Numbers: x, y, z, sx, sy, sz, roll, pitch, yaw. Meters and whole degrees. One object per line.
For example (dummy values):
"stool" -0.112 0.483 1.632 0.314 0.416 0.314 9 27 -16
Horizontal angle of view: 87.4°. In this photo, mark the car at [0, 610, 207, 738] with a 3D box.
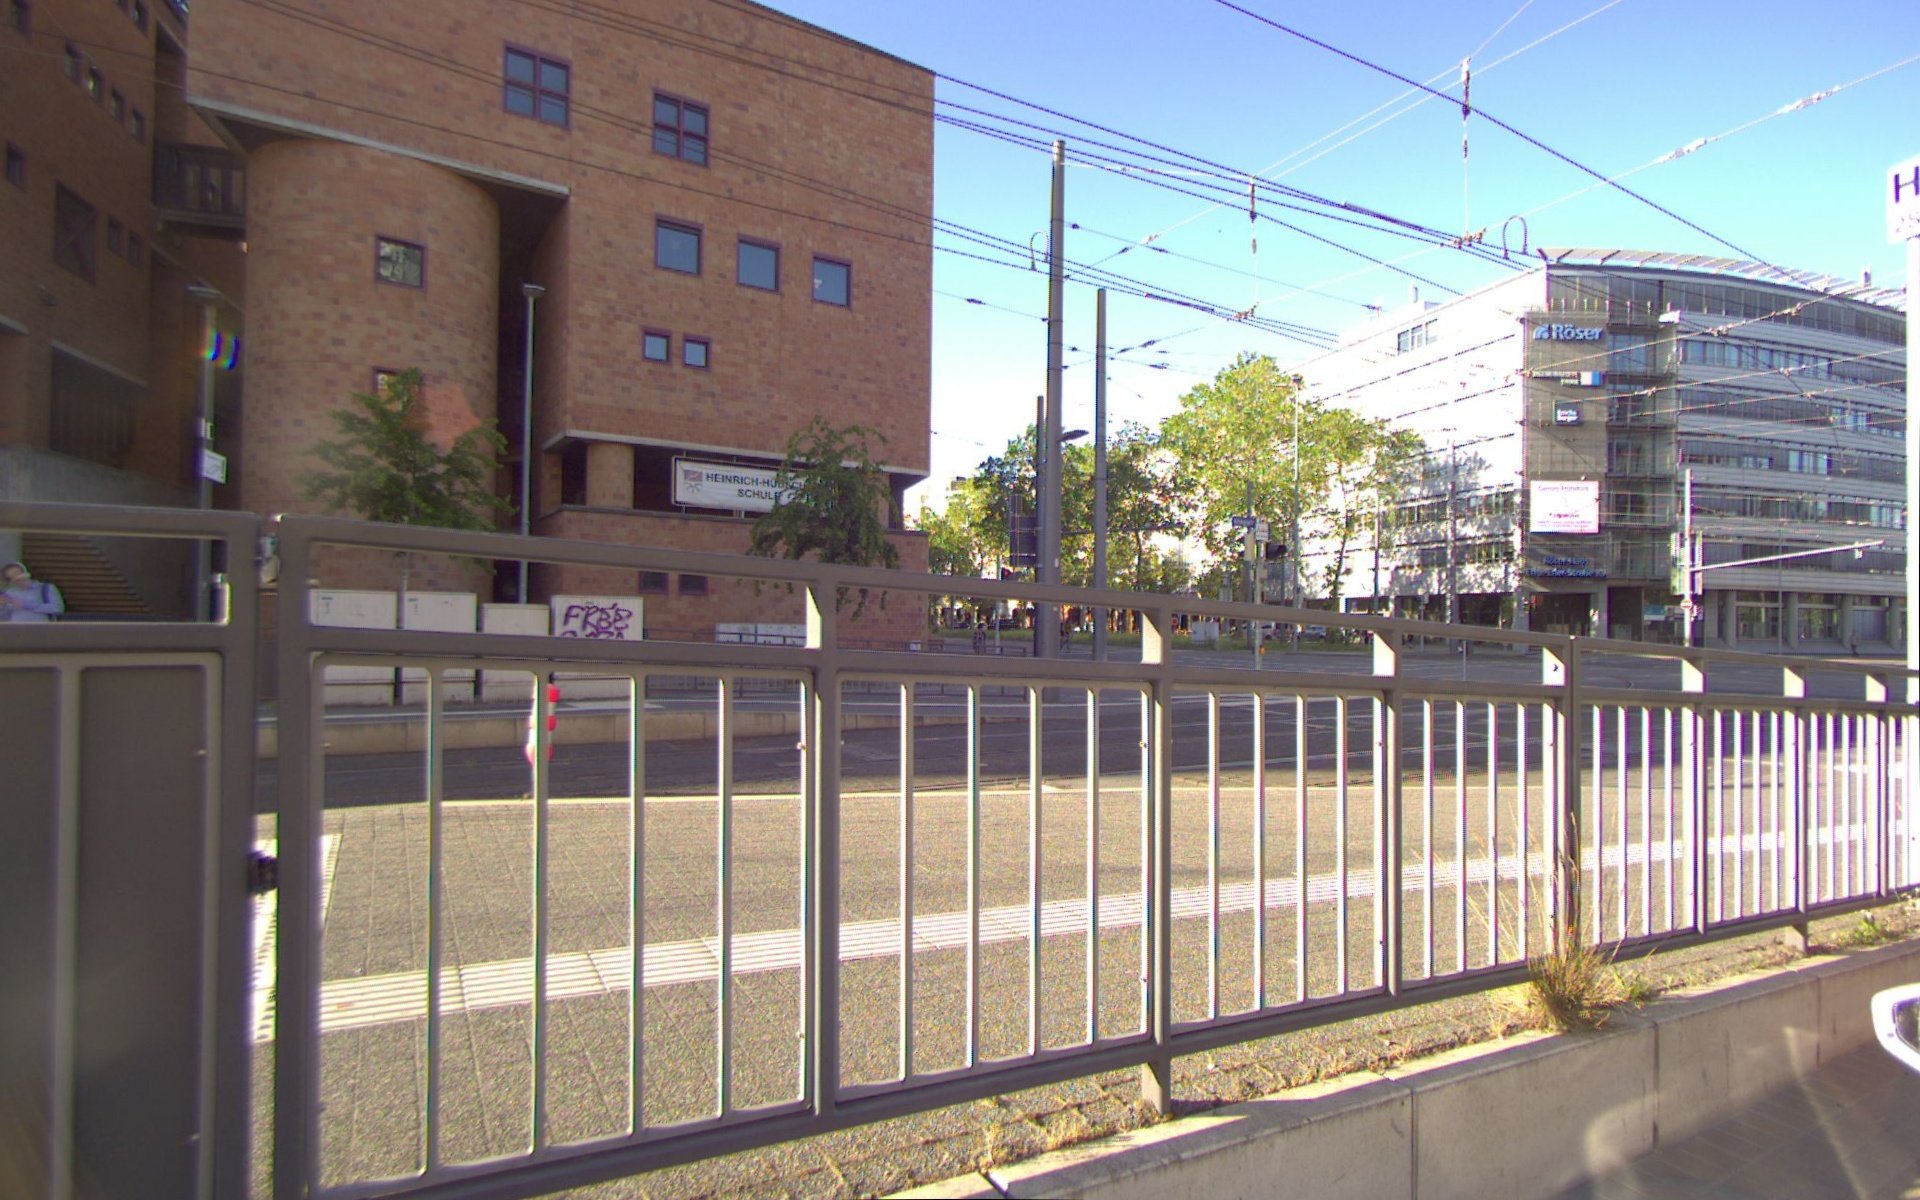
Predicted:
"car" -11.920 0.863 12.285 4.198 1.449 1.813 2 0 -34

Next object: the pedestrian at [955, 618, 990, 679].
"pedestrian" 0.366 1.407 29.059 0.785 1.714 0.587 2 0 -29

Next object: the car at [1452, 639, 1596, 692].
"car" 13.662 1.557 24.387 2.841 1.077 1.238 2 0 40

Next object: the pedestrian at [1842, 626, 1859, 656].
"pedestrian" 60.871 2.804 68.638 0.745 2.040 0.627 2 0 -30

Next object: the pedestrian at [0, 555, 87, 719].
"pedestrian" -9.686 0.376 10.528 0.679 1.656 0.662 2 0 -34
